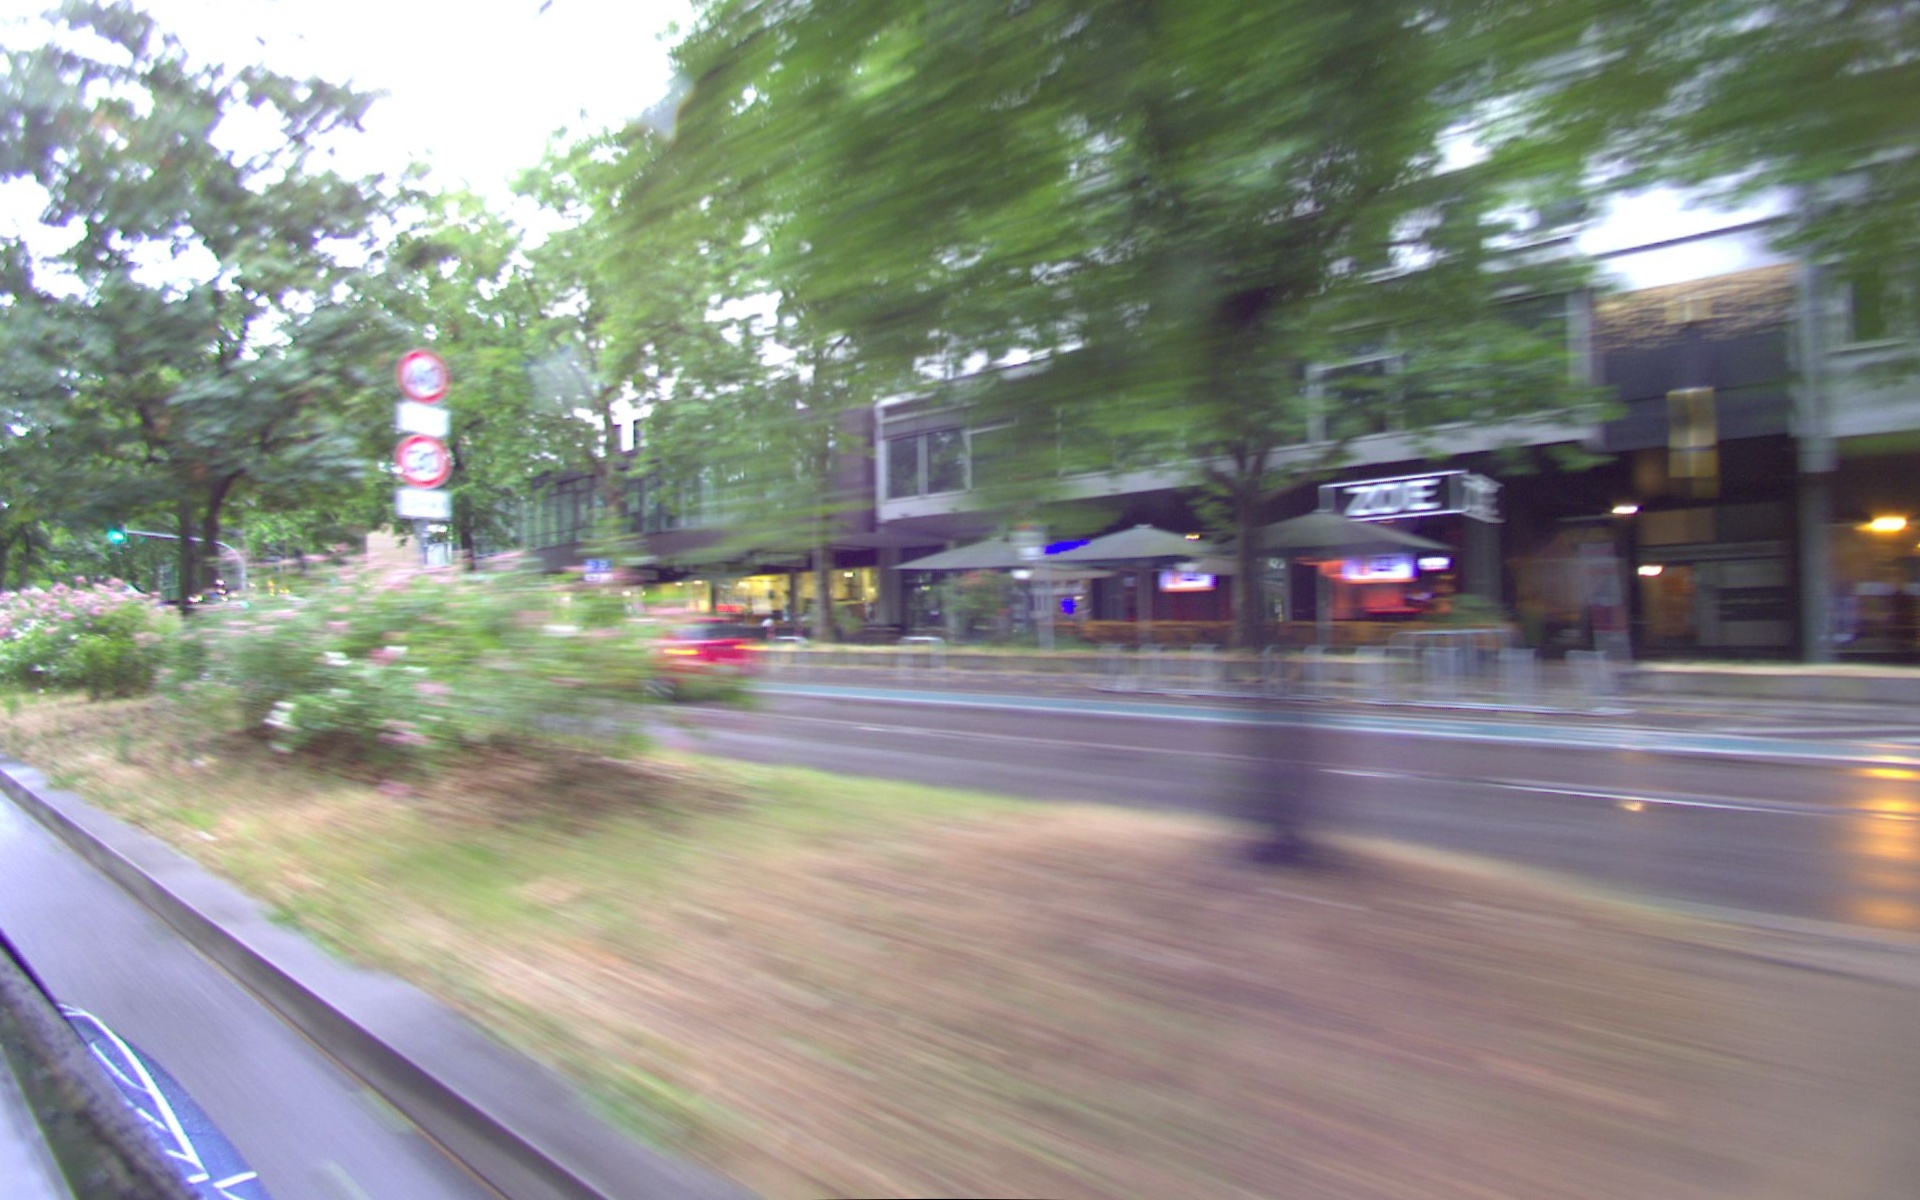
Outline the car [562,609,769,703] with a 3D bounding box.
[{"bbox_3d":[-5.293,0.942,17.914,4.033,1.476,1.621,-2,-2,41],"label":"car"}]
